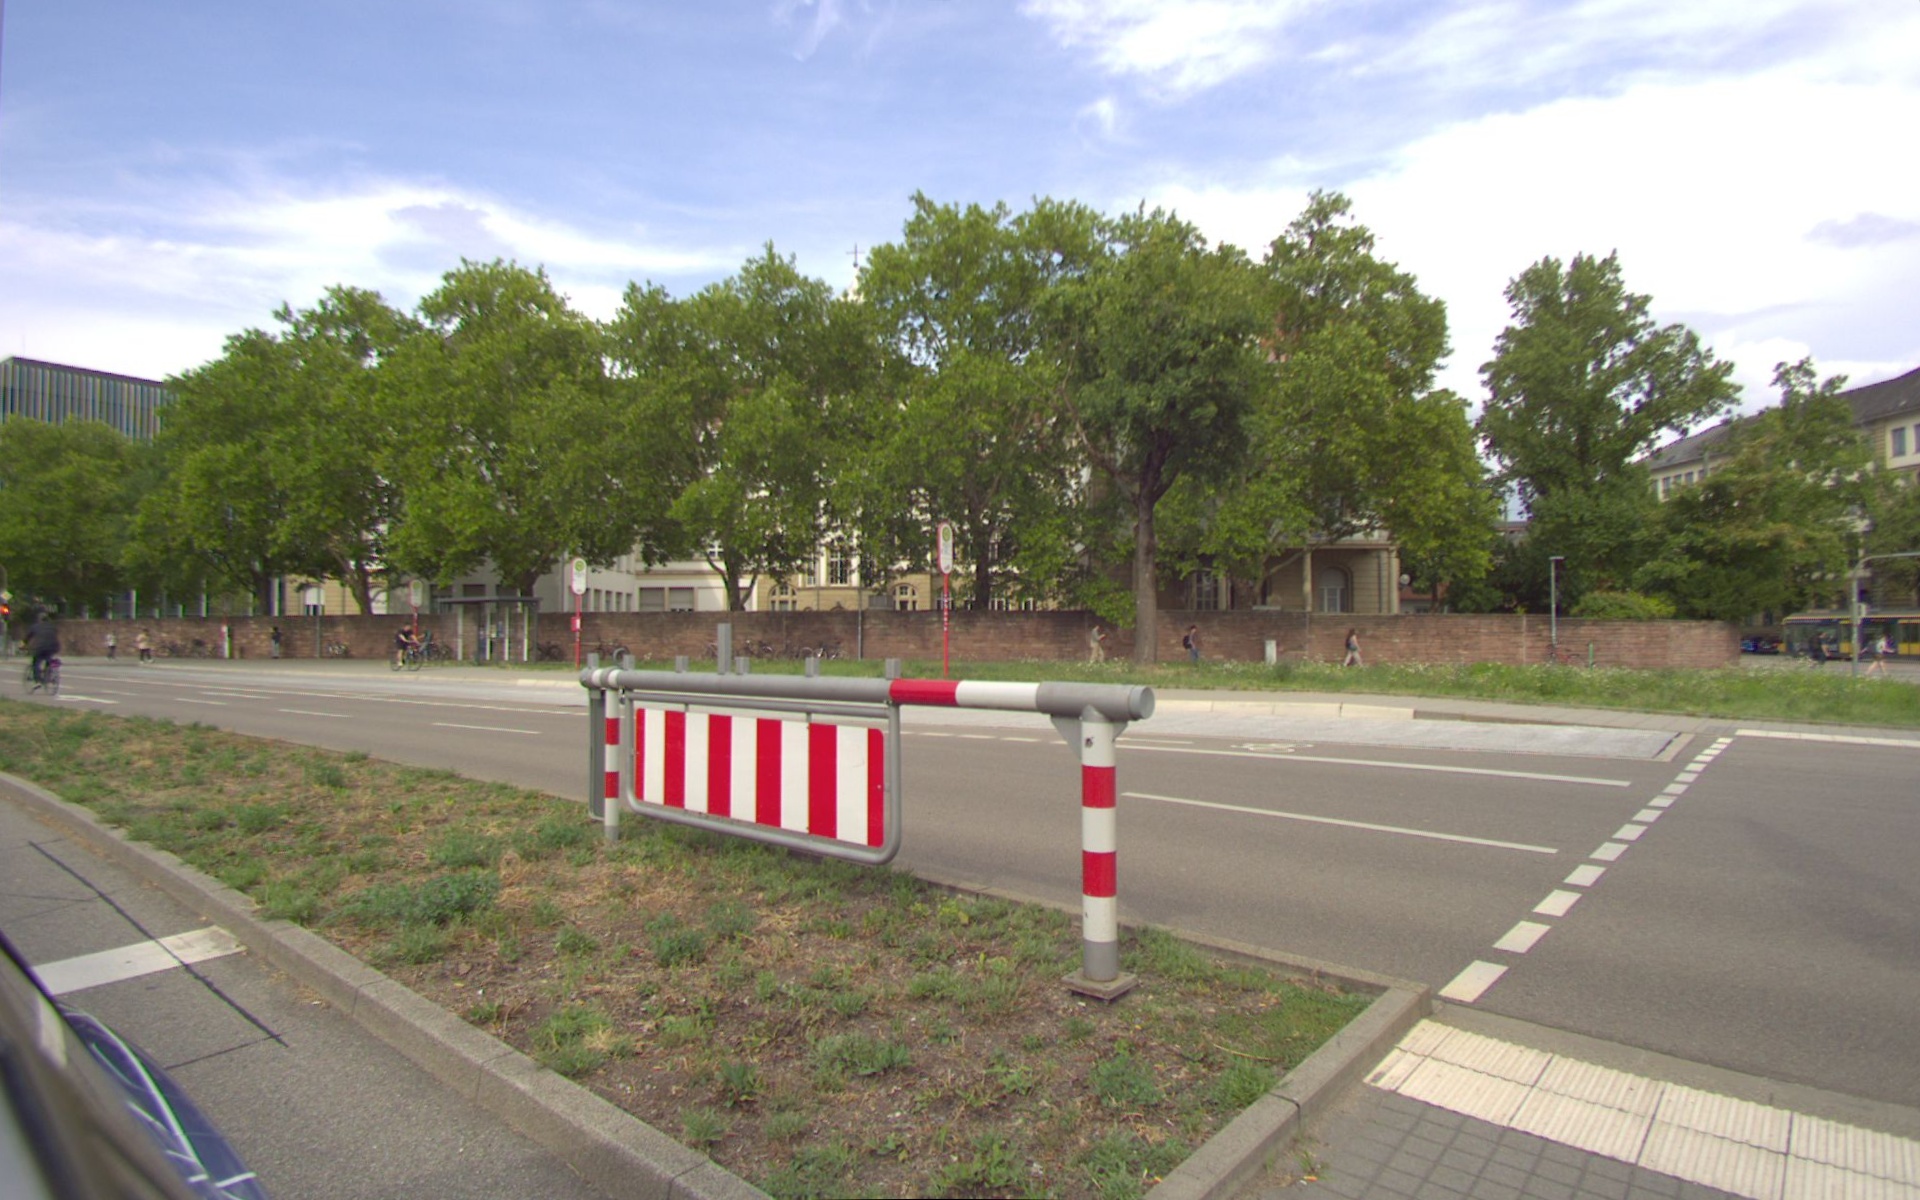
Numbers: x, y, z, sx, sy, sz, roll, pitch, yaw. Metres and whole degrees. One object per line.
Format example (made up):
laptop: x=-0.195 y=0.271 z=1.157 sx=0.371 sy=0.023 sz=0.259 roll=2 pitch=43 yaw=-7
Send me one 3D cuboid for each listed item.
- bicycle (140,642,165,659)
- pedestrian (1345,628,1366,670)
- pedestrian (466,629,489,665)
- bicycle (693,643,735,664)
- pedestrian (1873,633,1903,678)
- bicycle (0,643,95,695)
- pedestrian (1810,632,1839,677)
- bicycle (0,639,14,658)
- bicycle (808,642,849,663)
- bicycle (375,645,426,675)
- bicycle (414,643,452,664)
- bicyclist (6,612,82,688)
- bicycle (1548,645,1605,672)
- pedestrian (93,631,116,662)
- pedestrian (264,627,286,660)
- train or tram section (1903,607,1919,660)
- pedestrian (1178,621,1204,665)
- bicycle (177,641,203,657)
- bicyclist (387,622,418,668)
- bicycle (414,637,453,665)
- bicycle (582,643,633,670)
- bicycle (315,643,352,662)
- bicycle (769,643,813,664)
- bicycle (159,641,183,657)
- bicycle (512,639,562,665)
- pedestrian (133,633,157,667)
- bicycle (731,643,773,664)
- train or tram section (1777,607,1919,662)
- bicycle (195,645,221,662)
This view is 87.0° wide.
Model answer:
bicycle: x=-45.540 y=2.843 z=57.062 sx=1.568 sy=0.894 sz=0.429 roll=-2 pitch=1 yaw=26
pedestrian: x=15.873 y=1.957 z=40.638 sx=0.622 sy=1.667 sz=0.531 roll=-1 pitch=0 yaw=3
pedestrian: x=-22.433 y=2.184 z=47.056 sx=0.748 sy=1.634 sz=0.566 roll=-1 pitch=0 yaw=15
bicycle: x=-10.720 y=2.329 z=44.020 sx=1.805 sy=0.871 sz=0.357 roll=-1 pitch=-4 yaw=14
pedestrian: x=37.208 y=2.216 z=40.581 sx=0.799 sy=1.724 sz=0.829 roll=-1 pitch=0 yaw=39
bicycle: x=-21.373 y=1.608 z=23.601 sx=2.079 sy=1.198 sz=0.755 roll=-1 pitch=-4 yaw=16
pedestrian: x=34.261 y=2.150 z=40.125 sx=0.799 sy=1.724 sz=0.829 roll=-1 pitch=0 yaw=39
bicycle: x=-63.880 y=3.237 z=67.826 sx=1.393 sy=1.218 sz=0.507 roll=-1 pitch=0 yaw=37
bicycle: x=-5.588 y=2.244 z=43.000 sx=1.690 sy=0.871 sz=0.357 roll=-1 pitch=-4 yaw=12
bicycle: x=-19.632 y=2.081 z=35.483 sx=1.960 sy=0.943 sz=0.502 roll=1 pitch=0 yaw=25
bicycle: x=-24.992 y=2.534 z=47.967 sx=1.563 sy=0.894 sz=0.658 roll=-2 pitch=1 yaw=18
bicyclist: x=-21.379 y=1.177 z=23.634 sx=1.075 sy=1.724 sz=0.774 roll=-1 pitch=-4 yaw=15
bicycle: x=25.148 y=2.378 z=41.308 sx=1.895 sy=1.012 sz=0.781 roll=-1 pitch=0 yaw=-8
pedestrian: x=-46.009 y=2.488 z=54.439 sx=0.663 sy=1.634 sz=0.747 roll=-1 pitch=0 yaw=31
pedestrian: x=-35.128 y=2.239 z=51.903 sx=0.655 sy=1.634 sz=0.755 roll=-1 pitch=0 yaw=-4
train or tram section: x=59.960 y=2.016 z=57.830 sx=3.018 sy=3.237 sz=9.433 roll=-1 pitch=0 yaw=-2
pedestrian: x=9.038 y=1.675 z=39.649 sx=0.768 sy=1.667 sz=0.579 roll=-1 pitch=0 yaw=-23
bicycle: x=-42.321 y=2.693 z=55.626 sx=1.568 sy=0.894 sz=0.429 roll=-2 pitch=1 yaw=26
bicyclist: x=-19.532 y=1.580 z=35.462 sx=0.793 sy=1.567 sz=0.575 roll=1 pitch=0 yaw=23
bicycle: x=-24.174 y=2.357 z=46.538 sx=0.747 sy=1.198 sz=2.099 roll=0 pitch=-4 yaw=-3
bicycle: x=-15.666 y=2.515 z=45.002 sx=2.079 sy=1.198 sz=0.755 roll=-1 pitch=-4 yaw=16
bicycle: x=-31.145 y=2.621 z=50.321 sx=1.563 sy=0.894 sz=0.658 roll=-2 pitch=1 yaw=18
bicycle: x=-7.179 y=2.270 z=42.974 sx=1.875 sy=0.871 sz=0.356 roll=-1 pitch=-4 yaw=18
bicycle: x=-43.848 y=2.720 z=56.237 sx=1.568 sy=0.894 sz=0.429 roll=-2 pitch=1 yaw=26
bicycle: x=-19.283 y=2.376 z=46.169 sx=2.079 sy=1.198 sz=0.755 roll=-1 pitch=-4 yaw=16
pedestrian: x=-40.499 y=2.467 z=50.287 sx=0.663 sy=1.634 sz=0.747 roll=-1 pitch=0 yaw=31
bicycle: x=-8.956 y=2.300 z=43.541 sx=1.794 sy=0.871 sz=0.357 roll=-1 pitch=-4 yaw=17
train or tram section: x=59.738 y=2.155 z=67.232 sx=3.018 sy=3.302 sz=9.373 roll=-1 pitch=0 yaw=-2
bicycle: x=-40.488 y=2.898 z=54.479 sx=1.568 sy=0.894 sz=0.429 roll=-2 pitch=1 yaw=26
